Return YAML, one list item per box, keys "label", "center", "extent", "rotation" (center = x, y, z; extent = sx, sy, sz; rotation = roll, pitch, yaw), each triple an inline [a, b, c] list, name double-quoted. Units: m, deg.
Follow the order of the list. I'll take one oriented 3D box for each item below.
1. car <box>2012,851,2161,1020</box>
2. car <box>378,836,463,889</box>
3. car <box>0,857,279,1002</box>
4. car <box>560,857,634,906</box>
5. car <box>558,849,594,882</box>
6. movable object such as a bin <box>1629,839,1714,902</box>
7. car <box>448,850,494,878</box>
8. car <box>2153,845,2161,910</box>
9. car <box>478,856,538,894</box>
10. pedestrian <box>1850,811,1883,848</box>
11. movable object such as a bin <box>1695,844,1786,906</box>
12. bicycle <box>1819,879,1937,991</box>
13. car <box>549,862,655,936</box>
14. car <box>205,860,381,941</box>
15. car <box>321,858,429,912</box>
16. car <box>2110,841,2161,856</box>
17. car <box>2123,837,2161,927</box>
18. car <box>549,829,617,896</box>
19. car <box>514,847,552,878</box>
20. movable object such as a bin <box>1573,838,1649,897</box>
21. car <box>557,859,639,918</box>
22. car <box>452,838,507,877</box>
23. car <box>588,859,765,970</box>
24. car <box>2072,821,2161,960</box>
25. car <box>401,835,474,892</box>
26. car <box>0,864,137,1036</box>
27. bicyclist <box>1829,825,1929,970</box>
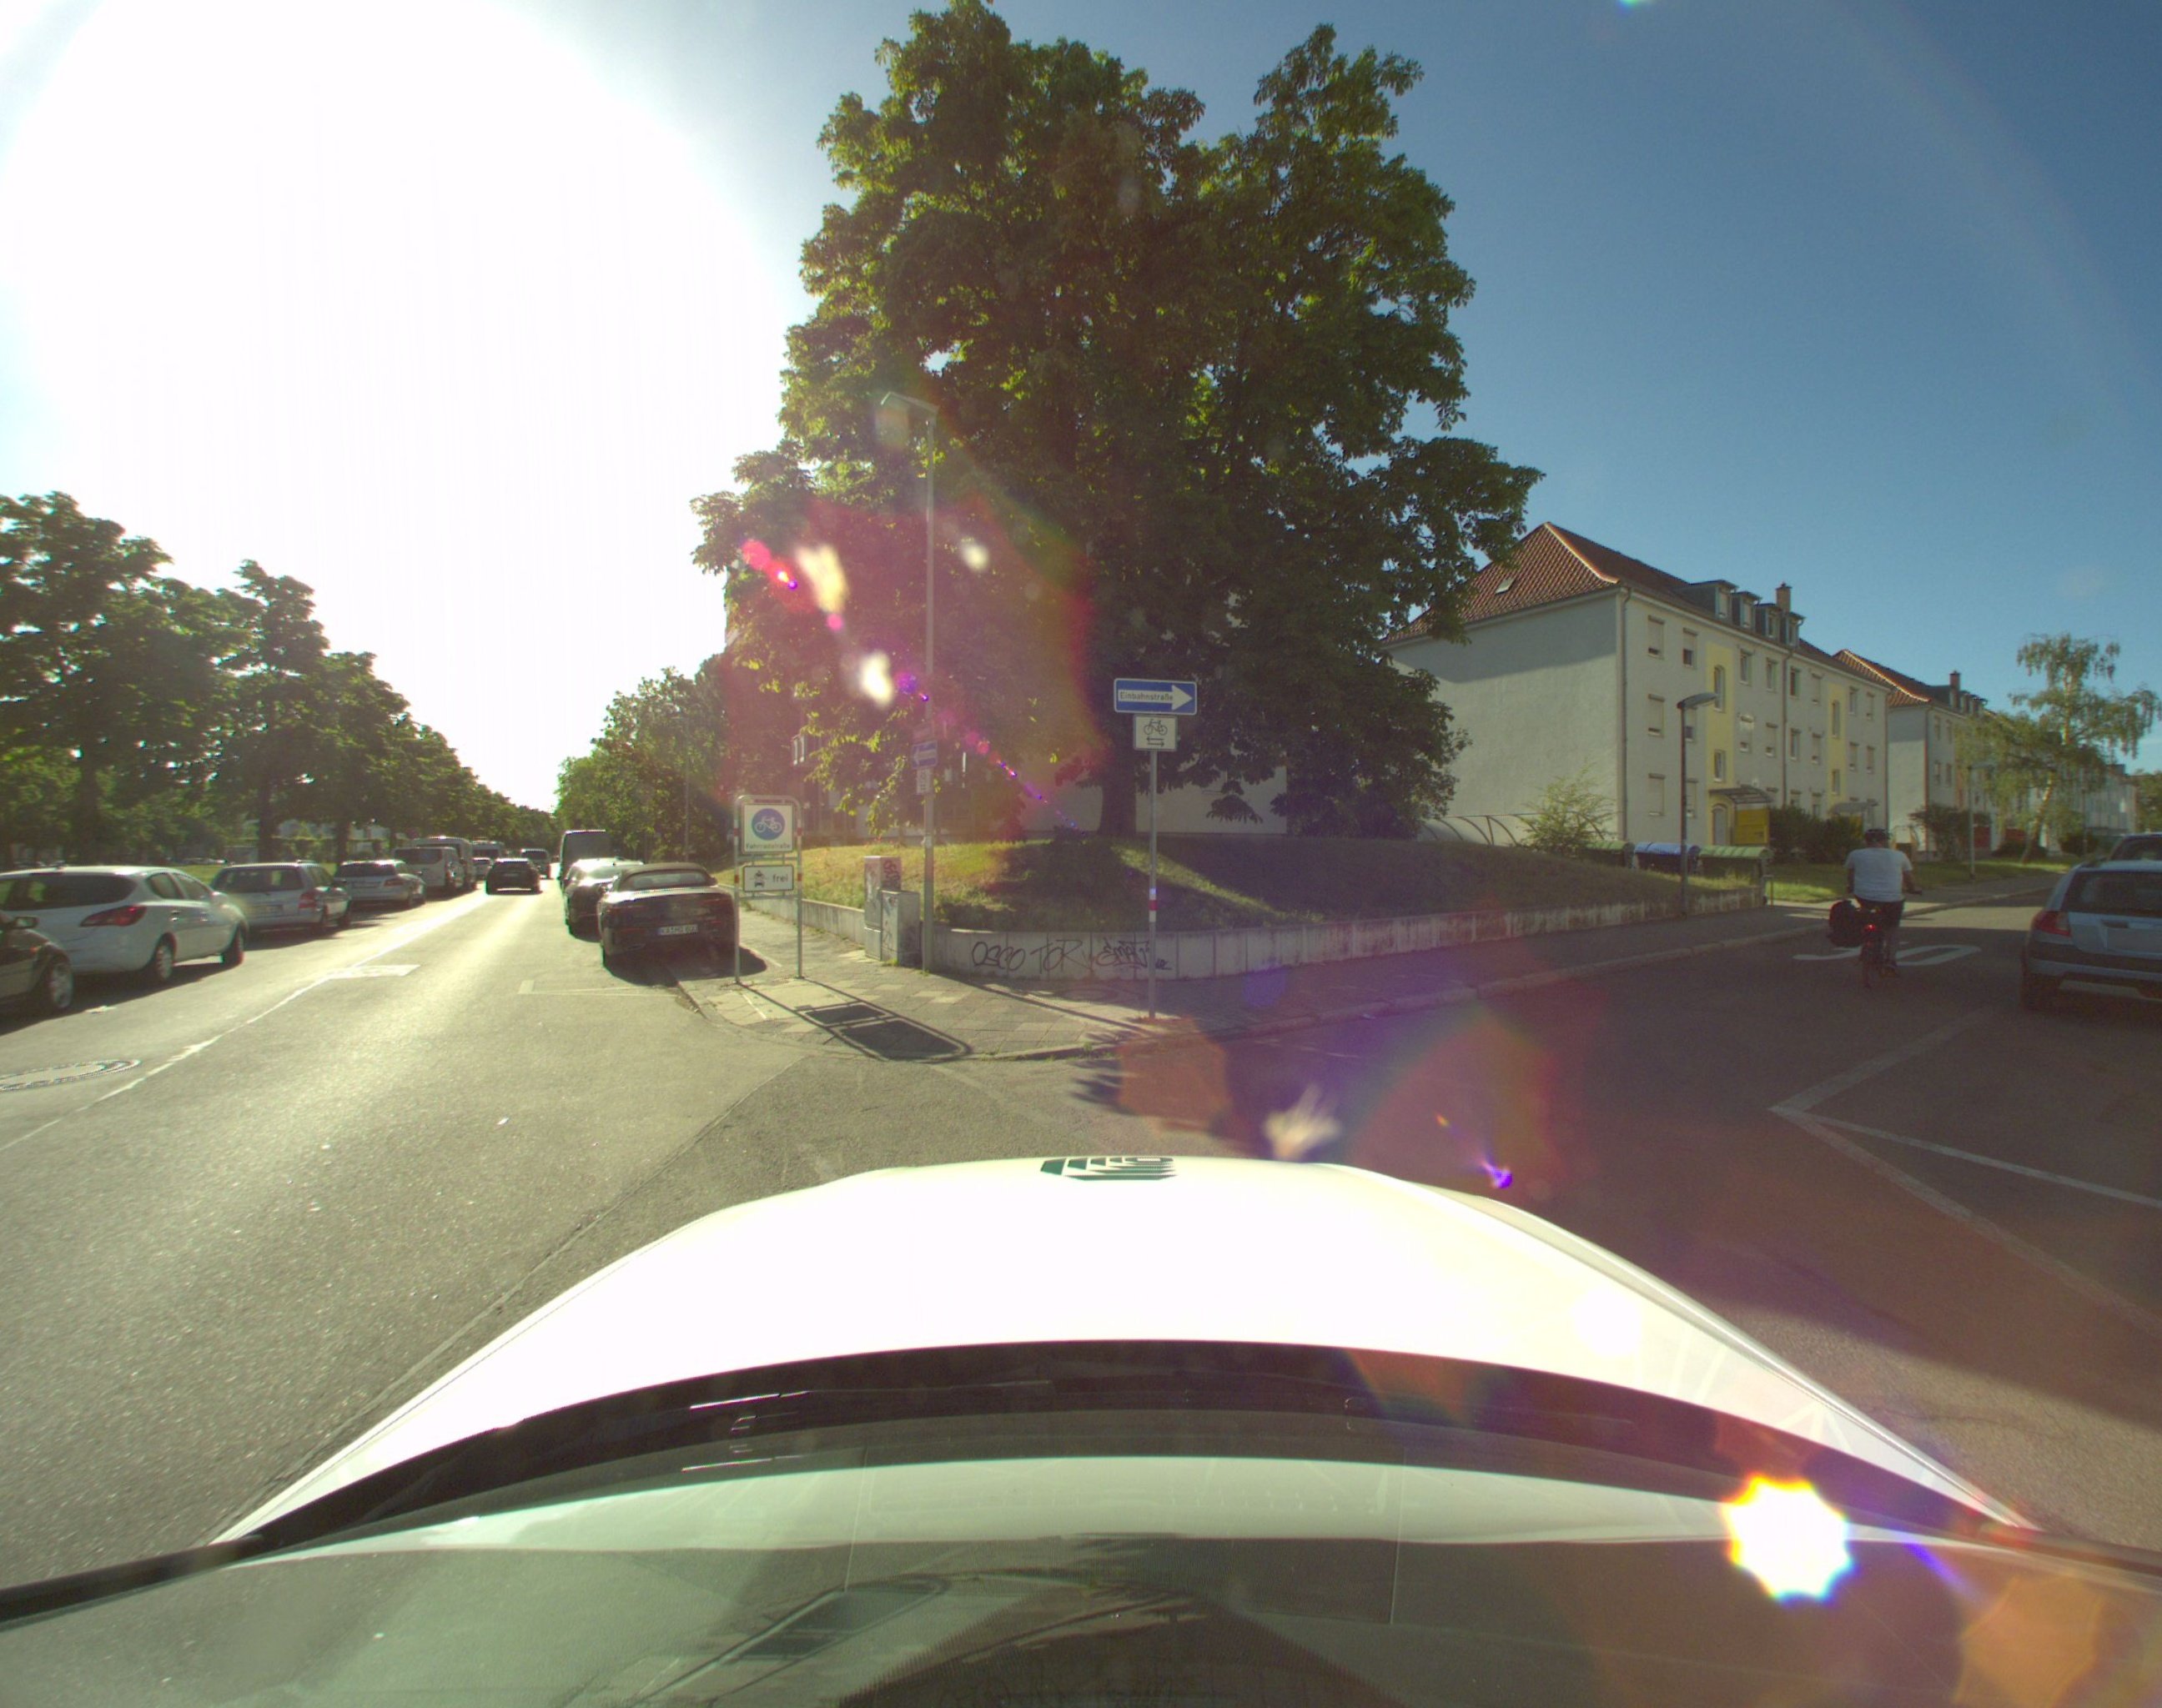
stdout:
- label: "car"
  center: [10.844, 0.695, 8.165]
  extent: [3.917, 1.429, 1.640]
  rotation: [0, 0, -36]
- label: "car"
  center: [-26.172, 0.311, 32.408]
  extent: [2.113, 1.942, 4.085]
  rotation: [0, 0, -32]
- label: "car"
  center: [-12.258, 0.839, 10.524]
  extent: [1.789, 1.495, 3.836]
  rotation: [-2, 1, -31]
- label: "car"
  center: [-16.281, 0.870, 27.435]
  extent: [2.001, 1.487, 4.086]
  rotation: [0, 0, -31]
- label: "car"
  center: [-37.513, 0.807, 60.450]
  extent: [2.178, 2.292, 5.211]
  rotation: [0, 0, -33]
- label: "movable object such as a bin"
  center: [15.794, 0.423, 21.817]
  extent: [1.268, 1.622, 1.488]
  rotation: [0, 0, -33]
- label: "car"
  center: [-40.421, 0.640, 54.086]
  extent: [2.023, 1.785, 4.086]
  rotation: [-1, 0, -31]
- label: "car"
  center: [25.784, 0.503, 18.393]
  extent: [3.643, 1.432, 1.744]
  rotation: [-1, 1, -35]
- label: "car"
  center: [-24.659, 0.866, 35.140]
  extent: [1.791, 1.531, 3.961]
  rotation: [1, -1, -31]
- label: "pedestrian"
  center: [37.110, -1.151, 38.476]
  extent: [0.950, 1.715, 0.964]
  rotation: [0, 0, -33]
- label: "movable object such as a bin"
  center: [16.673, 0.505, 20.616]
  extent: [1.269, 1.478, 1.481]
  rotation: [0, 0, -33]
- label: "bicycle"
  center: [9.300, 0.891, 9.483]
  extent: [1.773, 1.127, 0.656]
  rotation: [0, 1, -35]
- label: "car"
  center: [-10.422, 0.881, 17.749]
  extent: [1.791, 1.371, 4.086]
  rotation: [0, 0, -31]
- label: "car"
  center: [-16.396, 0.868, 17.194]
  extent: [1.791, 1.461, 4.086]
  rotation: [0, 0, -31]
- label: "car"
  center: [-21.761, 0.888, 25.276]
  extent: [1.845, 1.500, 4.086]
  rotation: [0, 0, -31]
- label: "car"
  center: [132.368, -0.713, 102.136]
  extent: [2.008, 1.801, 3.958]
  rotation: [0, 0, -34]
- label: "car"
  center: [21.253, 0.487, 15.196]
  extent: [4.141, 1.592, 1.968]
  rotation: [0, 0, -34]
- label: "car"
  center: [-21.902, 0.347, 35.726]
  extent: [2.179, 2.689, 5.358]
  rotation: [0, 0, -35]
- label: "car"
  center: [-37.961, 0.580, 56.498]
  extent: [1.907, 1.991, 3.971]
  rotation: [-2, 1, -31]
- label: "movable object such as a bin"
  center: [14.971, 0.366, 23.036]
  extent: [1.195, 1.613, 1.449]
  rotation: [0, 0, -33]
- label: "car"
  center: [-13.762, 0.894, 23.102]
  extent: [1.792, 1.487, 3.989]
  rotation: [0, 0, -33]
- label: "car"
  center: [-43.348, 0.220, 58.869]
  extent: [2.634, 2.645, 6.054]
  rotation: [0, 0, -31]
- label: "car"
  center: [-6.665, 0.807, 13.153]
  extent: [2.139, 1.337, 4.461]
  rotation: [-3, 2, -31]
- label: "car"
  center: [15.446, 0.445, 11.205]
  extent: [4.311, 1.730, 1.850]
  rotation: [0, 0, -33]
- label: "car"
  center: [-29.680, 0.421, 37.697]
  extent: [2.112, 2.496, 4.086]
  rotation: [0, 0, -31]
- label: "car"
  center: [-9.978, 0.840, 6.670]
  extent: [1.760, 1.424, 3.877]
  rotation: [-3, 0, -31]
- label: "bicyclist"
  center: [9.251, 0.476, 9.447]
  extent: [0.794, 1.596, 0.689]
  rotation: [0, 0, -35]
